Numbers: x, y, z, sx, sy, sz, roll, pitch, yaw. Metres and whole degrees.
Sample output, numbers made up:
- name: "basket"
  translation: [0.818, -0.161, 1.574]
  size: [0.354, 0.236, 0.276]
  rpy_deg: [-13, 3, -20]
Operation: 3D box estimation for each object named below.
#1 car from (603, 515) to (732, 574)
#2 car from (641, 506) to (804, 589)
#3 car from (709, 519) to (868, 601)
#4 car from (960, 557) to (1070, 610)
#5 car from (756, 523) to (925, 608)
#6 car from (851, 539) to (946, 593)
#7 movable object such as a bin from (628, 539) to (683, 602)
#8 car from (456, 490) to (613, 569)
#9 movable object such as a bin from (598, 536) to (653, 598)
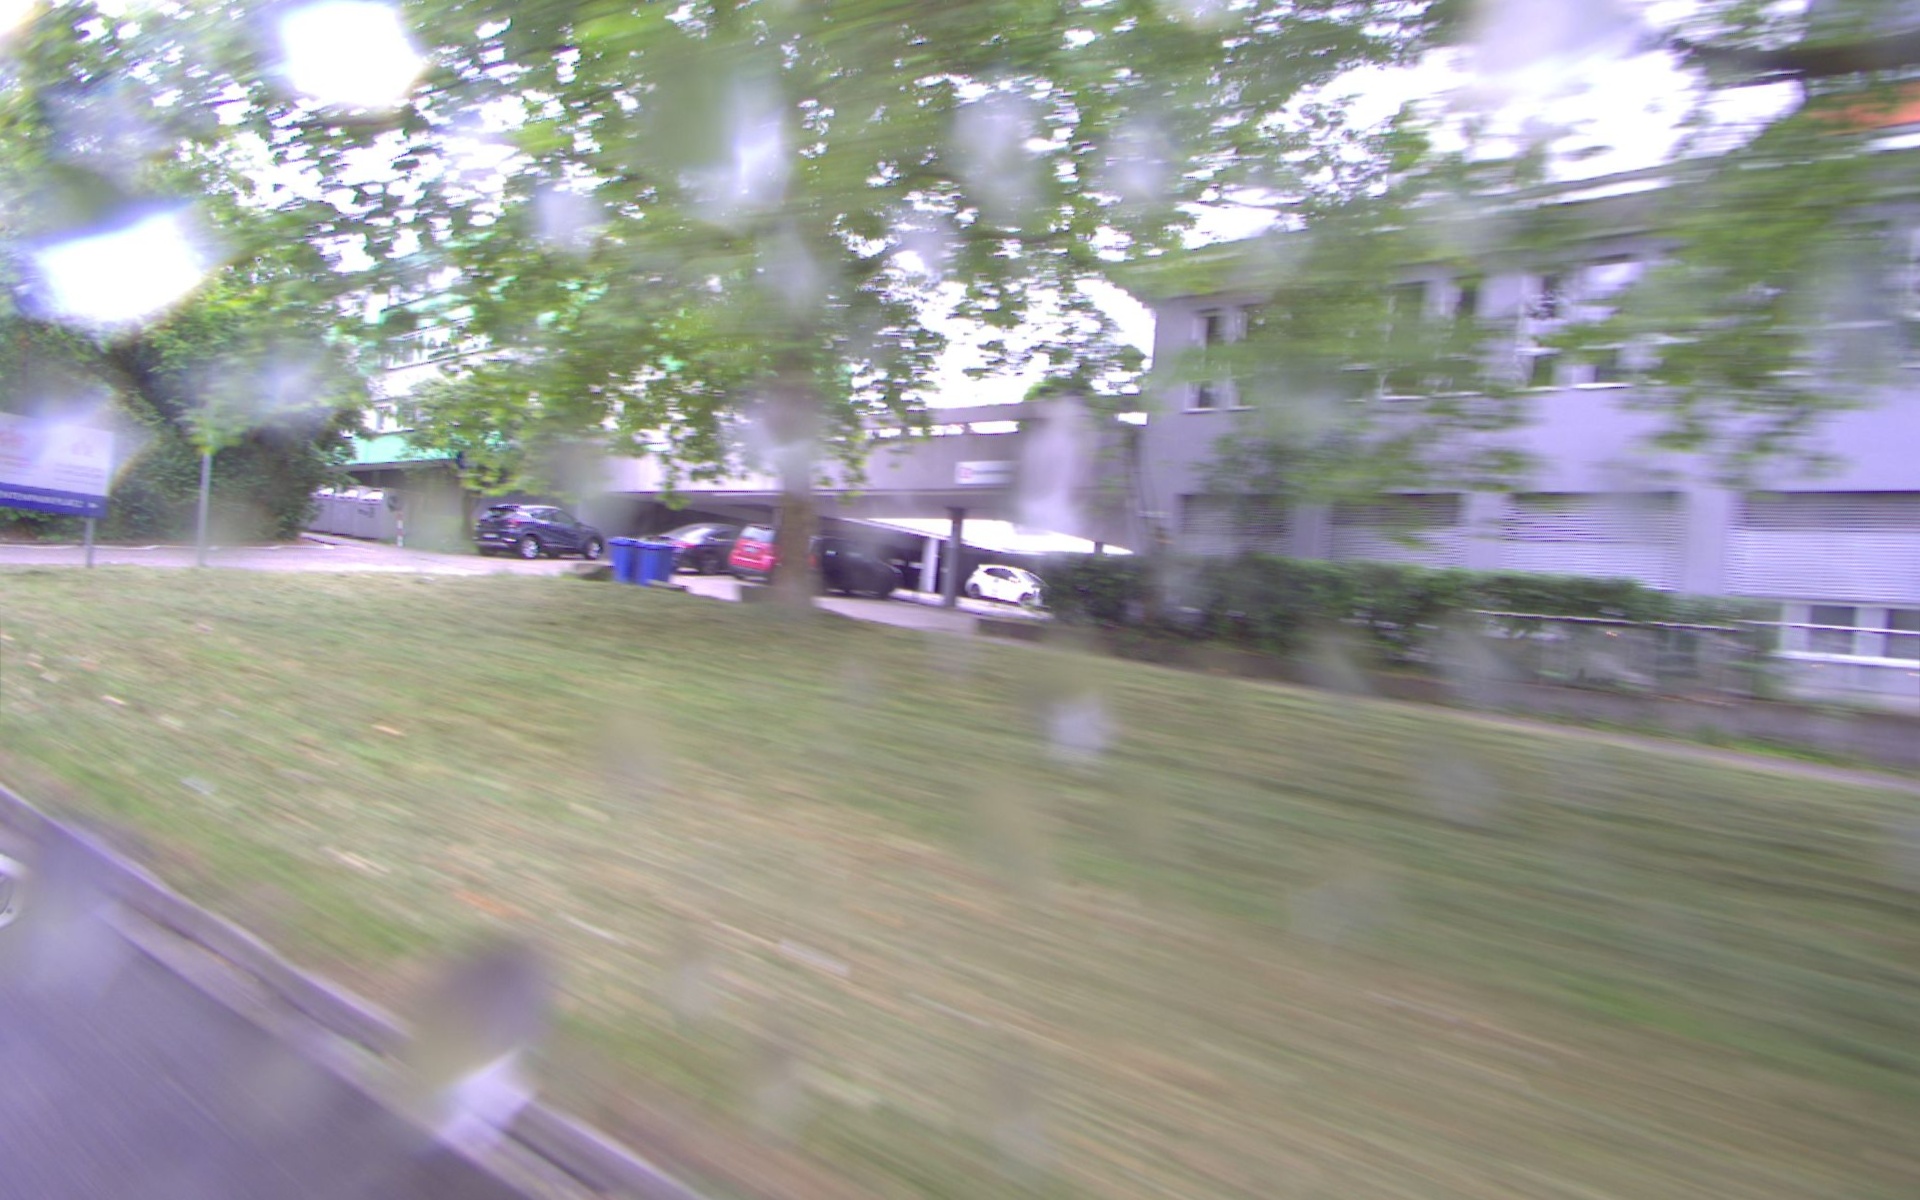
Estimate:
- name: "car"
  translation: [-10.476, -1.973, 36.192]
  size: [1.906, 1.594, 3.983]
  rpy_deg: [7, 0, 39]
- name: "car"
  translation: [-6.672, -1.459, 28.547]
  size: [1.971, 1.771, 3.983]
  rpy_deg: [7, 0, 39]
- name: "car"
  translation: [-4.683, -1.068, 27.898]
  size: [1.929, 1.682, 3.986]
  rpy_deg: [7, 0, 37]
- name: "car"
  translation: [2.137, -0.660, 39.563]
  size: [1.916, 1.661, 3.948]
  rpy_deg: [4, 2, -45]
- name: "car"
  translation: [-3.028, -0.865, 26.166]
  size: [1.971, 1.660, 3.983]
  rpy_deg: [7, 0, 39]
- name: "car"
  translation: [-2.719, -1.492, 44.937]
  size: [1.970, 2.040, 3.981]
  rpy_deg: [7, 2, 37]
- name: "movable object such as a bin"
  translation: [-6.121, -0.588, 20.252]
  size: [0.651, 1.132, 0.670]
  rpy_deg: [7, -2, 27]
- name: "car"
  translation: [-12.862, -2.092, 30.664]
  size: [1.964, 1.771, 3.997]
  rpy_deg: [7, 0, 25]
- name: "movable object such as a bin"
  translation: [-6.837, -0.663, 20.575]
  size: [0.651, 1.132, 0.670]
  rpy_deg: [7, -2, 27]
